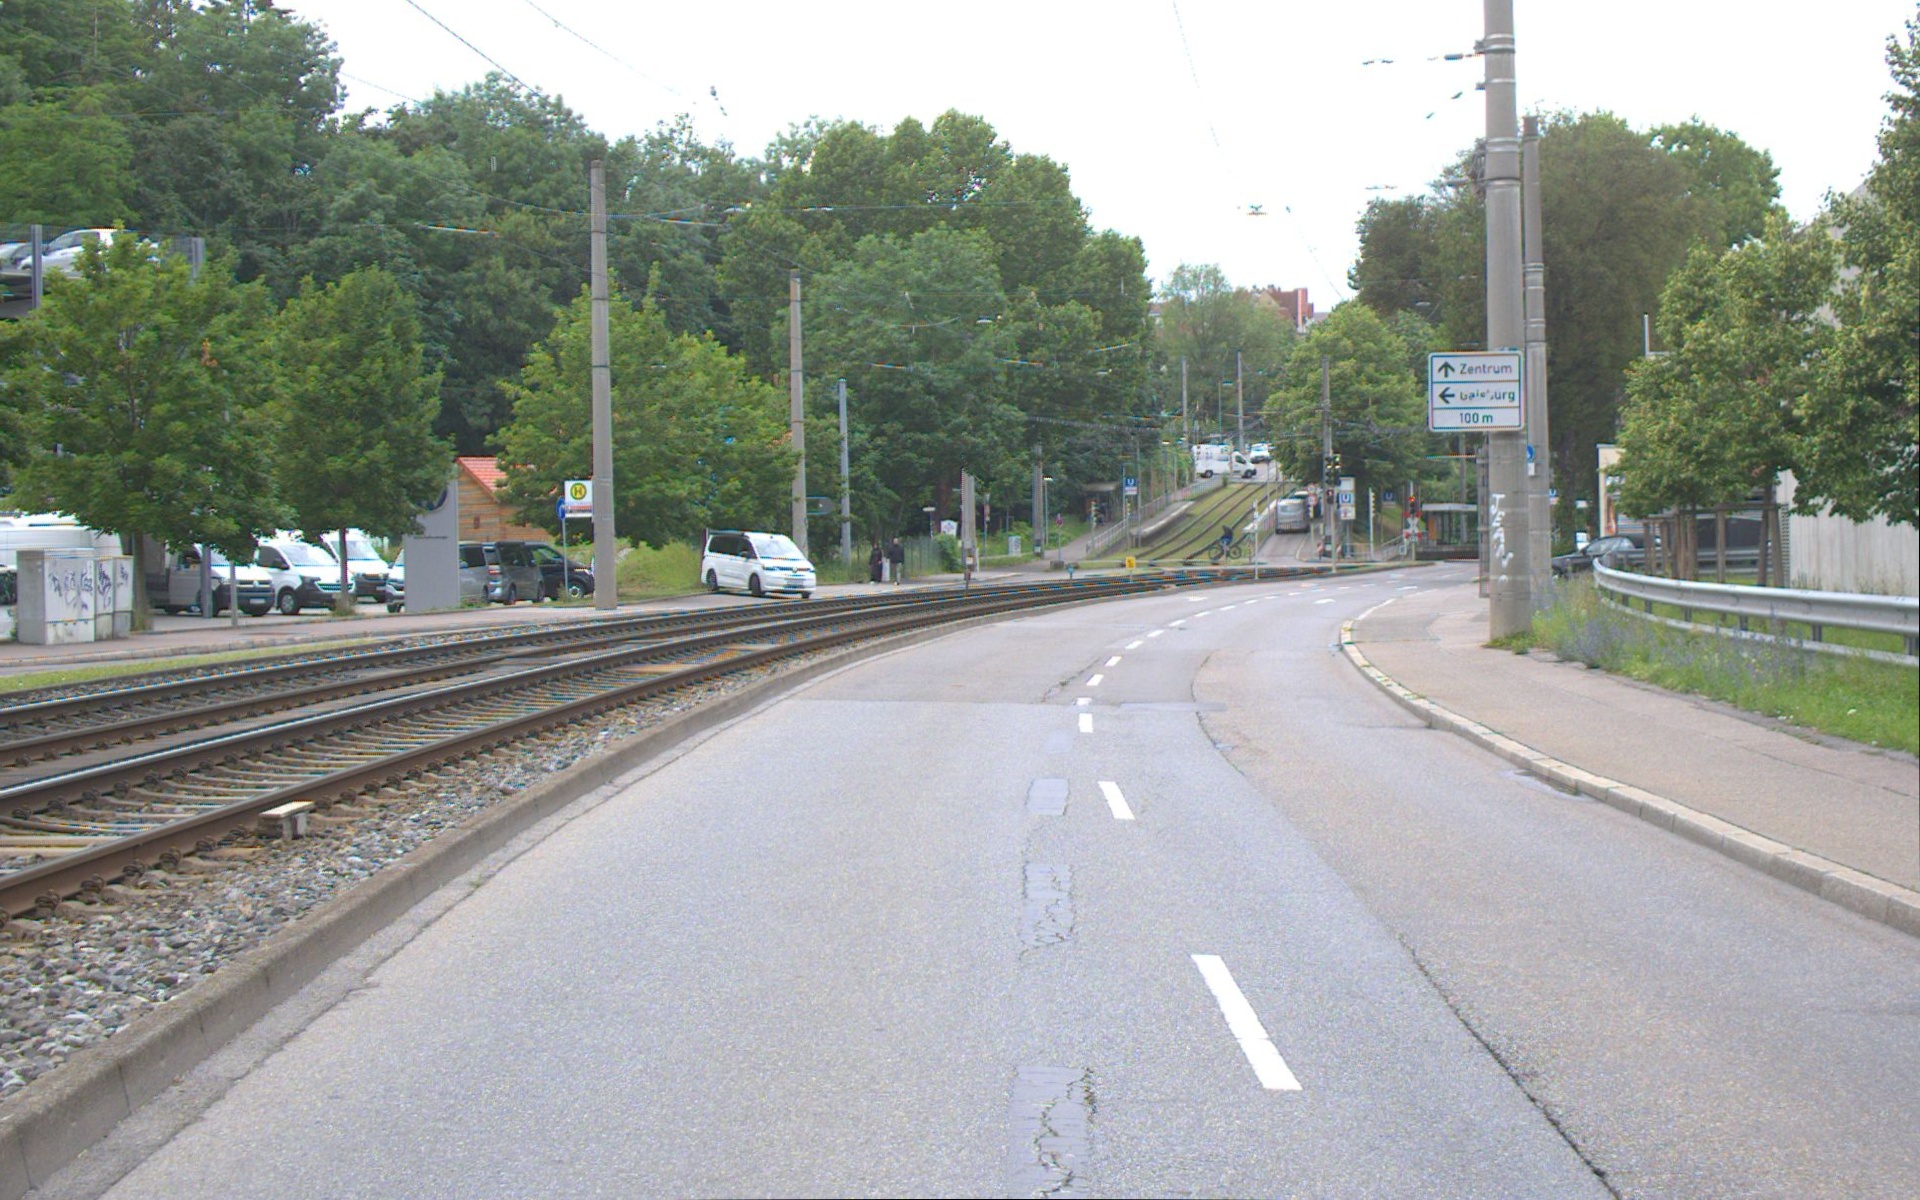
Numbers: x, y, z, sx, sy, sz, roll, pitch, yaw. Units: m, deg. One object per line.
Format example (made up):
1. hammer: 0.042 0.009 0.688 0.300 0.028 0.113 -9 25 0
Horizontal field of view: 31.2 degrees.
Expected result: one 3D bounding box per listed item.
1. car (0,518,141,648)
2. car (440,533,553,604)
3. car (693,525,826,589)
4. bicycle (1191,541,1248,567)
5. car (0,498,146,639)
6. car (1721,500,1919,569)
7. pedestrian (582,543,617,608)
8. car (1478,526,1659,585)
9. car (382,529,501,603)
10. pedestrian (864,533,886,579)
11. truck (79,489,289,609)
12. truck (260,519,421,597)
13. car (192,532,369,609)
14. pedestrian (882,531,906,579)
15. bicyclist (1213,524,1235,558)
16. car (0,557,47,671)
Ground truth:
1. car: -19.932 -0.350 70.800 5.475 2.593 2.246 0 1 10
2. car: -13.739 -0.959 102.221 1.994 2.007 5.128 -1 1 8
3. car: -6.336 -1.371 108.047 2.159 1.881 5.073 1 1 -29
4. bicycle: 14.129 -2.514 187.432 2.986 1.339 0.827 -1 1 -8
5. car: -20.298 -0.719 76.112 2.109 3.009 5.934 -1 1 11
6. car: 21.570 -1.635 85.801 4.505 1.543 2.161 -2 -1 -12
7. pedestrian: -9.447 -0.652 90.053 0.718 1.650 1.042 2 1 2
8. car: 15.497 -1.161 87.666 4.229 1.438 1.759 1 2 39
9. car: -14.509 -0.974 96.516 1.994 2.007 4.918 -1 1 7
10. pedestrian: -3.196 -1.644 129.506 0.628 1.707 0.855 1 1 12
11. truck: -20.475 -1.323 90.560 5.932 3.074 2.115 0 1 39
12. truck: -21.020 -1.423 116.628 5.066 2.579 2.464 0 1 35
13. car: -18.361 -0.785 92.794 4.725 2.007 1.996 0 1 37
14. pedestrian: -2.481 -1.695 129.383 0.677 1.807 0.855 1 1 12
15. bicyclist: 14.398 -3.201 187.460 1.048 1.843 0.824 -1 1 -8
16. car: -19.745 0.262 64.936 4.366 2.098 2.004 -1 1 6
